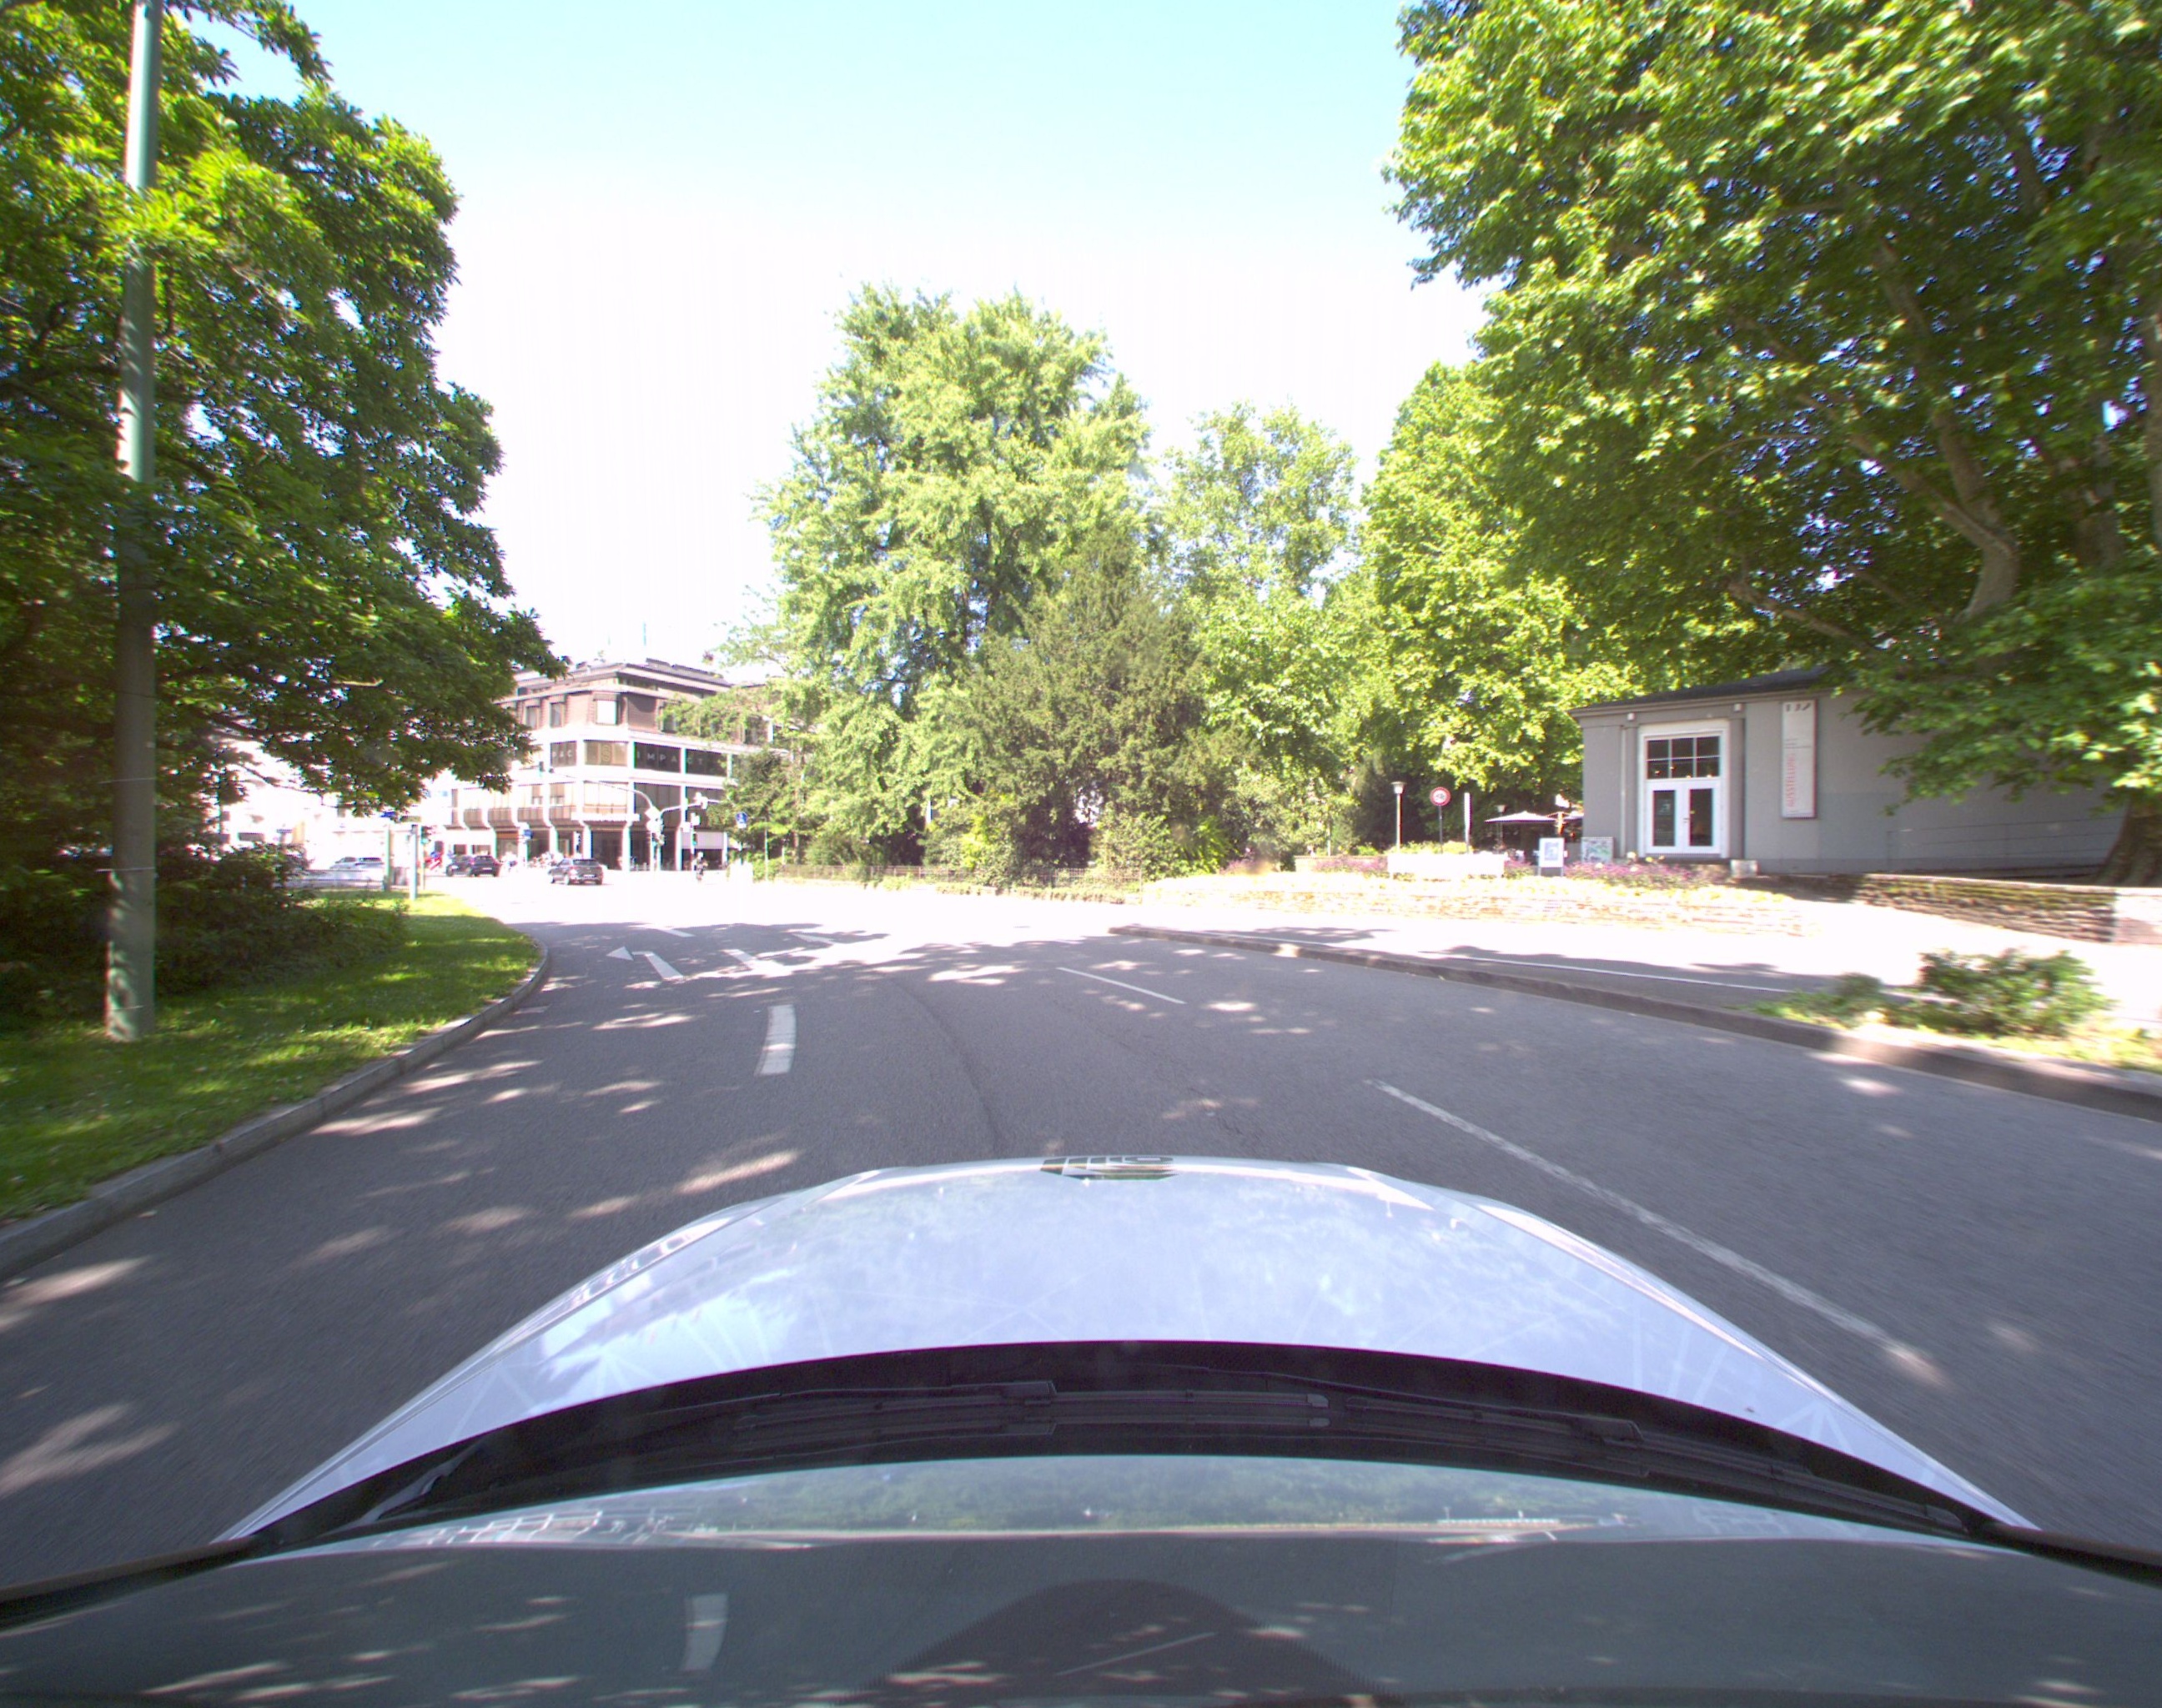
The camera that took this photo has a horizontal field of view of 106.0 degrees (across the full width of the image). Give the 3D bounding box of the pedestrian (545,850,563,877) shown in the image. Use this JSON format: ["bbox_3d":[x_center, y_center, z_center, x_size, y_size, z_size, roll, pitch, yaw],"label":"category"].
[{"bbox_3d":[-36.317,0.654,56.148,0.819,1.812,0.778,0,0,34],"label":"pedestrian"}]

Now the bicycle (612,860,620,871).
[{"bbox_3d":[-37.391,0.918,65.524,0.510,0.901,1.507,0,0,-31],"label":"bicycle"}]

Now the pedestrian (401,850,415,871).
[{"bbox_3d":[-60.153,0.580,72.798,0.819,1.812,0.778,0,0,33],"label":"pedestrian"}]

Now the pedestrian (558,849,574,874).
[{"bbox_3d":[-40.812,0.574,64.502,0.819,1.958,0.778,0,0,34],"label":"pedestrian"}]

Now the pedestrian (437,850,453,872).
[{"bbox_3d":[-52.544,0.581,67.262,0.819,1.812,0.778,0,0,33],"label":"pedestrian"}]

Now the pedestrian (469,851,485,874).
[{"bbox_3d":[-47.368,0.678,63.881,0.819,1.812,0.778,0,0,34],"label":"pedestrian"}]

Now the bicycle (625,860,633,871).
[{"bbox_3d":[-36.624,0.925,66.009,0.510,0.901,1.507,0,0,-31],"label":"bicycle"}]

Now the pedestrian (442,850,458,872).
[{"bbox_3d":[-51.643,0.578,66.638,0.819,1.812,0.778,0,0,33],"label":"pedestrian"}]

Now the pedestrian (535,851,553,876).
[{"bbox_3d":[-39.186,0.710,59.429,0.819,1.812,0.778,0,0,34],"label":"pedestrian"}]

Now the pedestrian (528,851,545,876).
[{"bbox_3d":[-40.068,0.703,59.946,0.819,1.812,0.778,0,0,34],"label":"pedestrian"}]

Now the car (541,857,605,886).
[{"bbox_3d":[-28.544,0.975,45.729,4.030,1.537,1.966,-1,0,42],"label":"car"}]

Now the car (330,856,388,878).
[{"bbox_3d":[-48.360,0.887,54.543,3.744,1.409,1.852,-1,0,32],"label":"car"}]

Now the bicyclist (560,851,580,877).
[{"bbox_3d":[-36.091,0.703,57.538,1.115,1.747,0.757,1,0,33],"label":"bicyclist"}]

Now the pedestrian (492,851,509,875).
[{"bbox_3d":[-44.361,0.684,62.222,0.819,1.812,0.778,0,0,34],"label":"pedestrian"}]

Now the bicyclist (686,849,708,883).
[{"bbox_3d":[-20.814,0.638,44.141,0.865,1.796,1.117,1,0,-37],"label":"bicyclist"}]

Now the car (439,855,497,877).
[{"bbox_3d":[-40.678,0.767,54.045,3.744,1.409,1.844,-1,0,32],"label":"car"}]

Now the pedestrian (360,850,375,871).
[{"bbox_3d":[-63.407,0.585,72.365,0.819,1.812,0.778,0,0,33],"label":"pedestrian"}]

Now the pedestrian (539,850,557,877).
[{"bbox_3d":[-37.053,0.646,56.631,0.819,1.812,0.778,0,0,34],"label":"pedestrian"}]

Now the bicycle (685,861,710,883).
[{"bbox_3d":[-20.827,0.970,44.161,0.860,1.160,2.060,0,0,-36],"label":"bicycle"}]

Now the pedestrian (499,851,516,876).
[{"bbox_3d":[-41.664,0.666,59.130,0.819,1.812,0.778,0,0,34],"label":"pedestrian"}]

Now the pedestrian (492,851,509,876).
[{"bbox_3d":[-42.581,0.680,59.719,0.819,1.812,0.778,0,0,34],"label":"pedestrian"}]
